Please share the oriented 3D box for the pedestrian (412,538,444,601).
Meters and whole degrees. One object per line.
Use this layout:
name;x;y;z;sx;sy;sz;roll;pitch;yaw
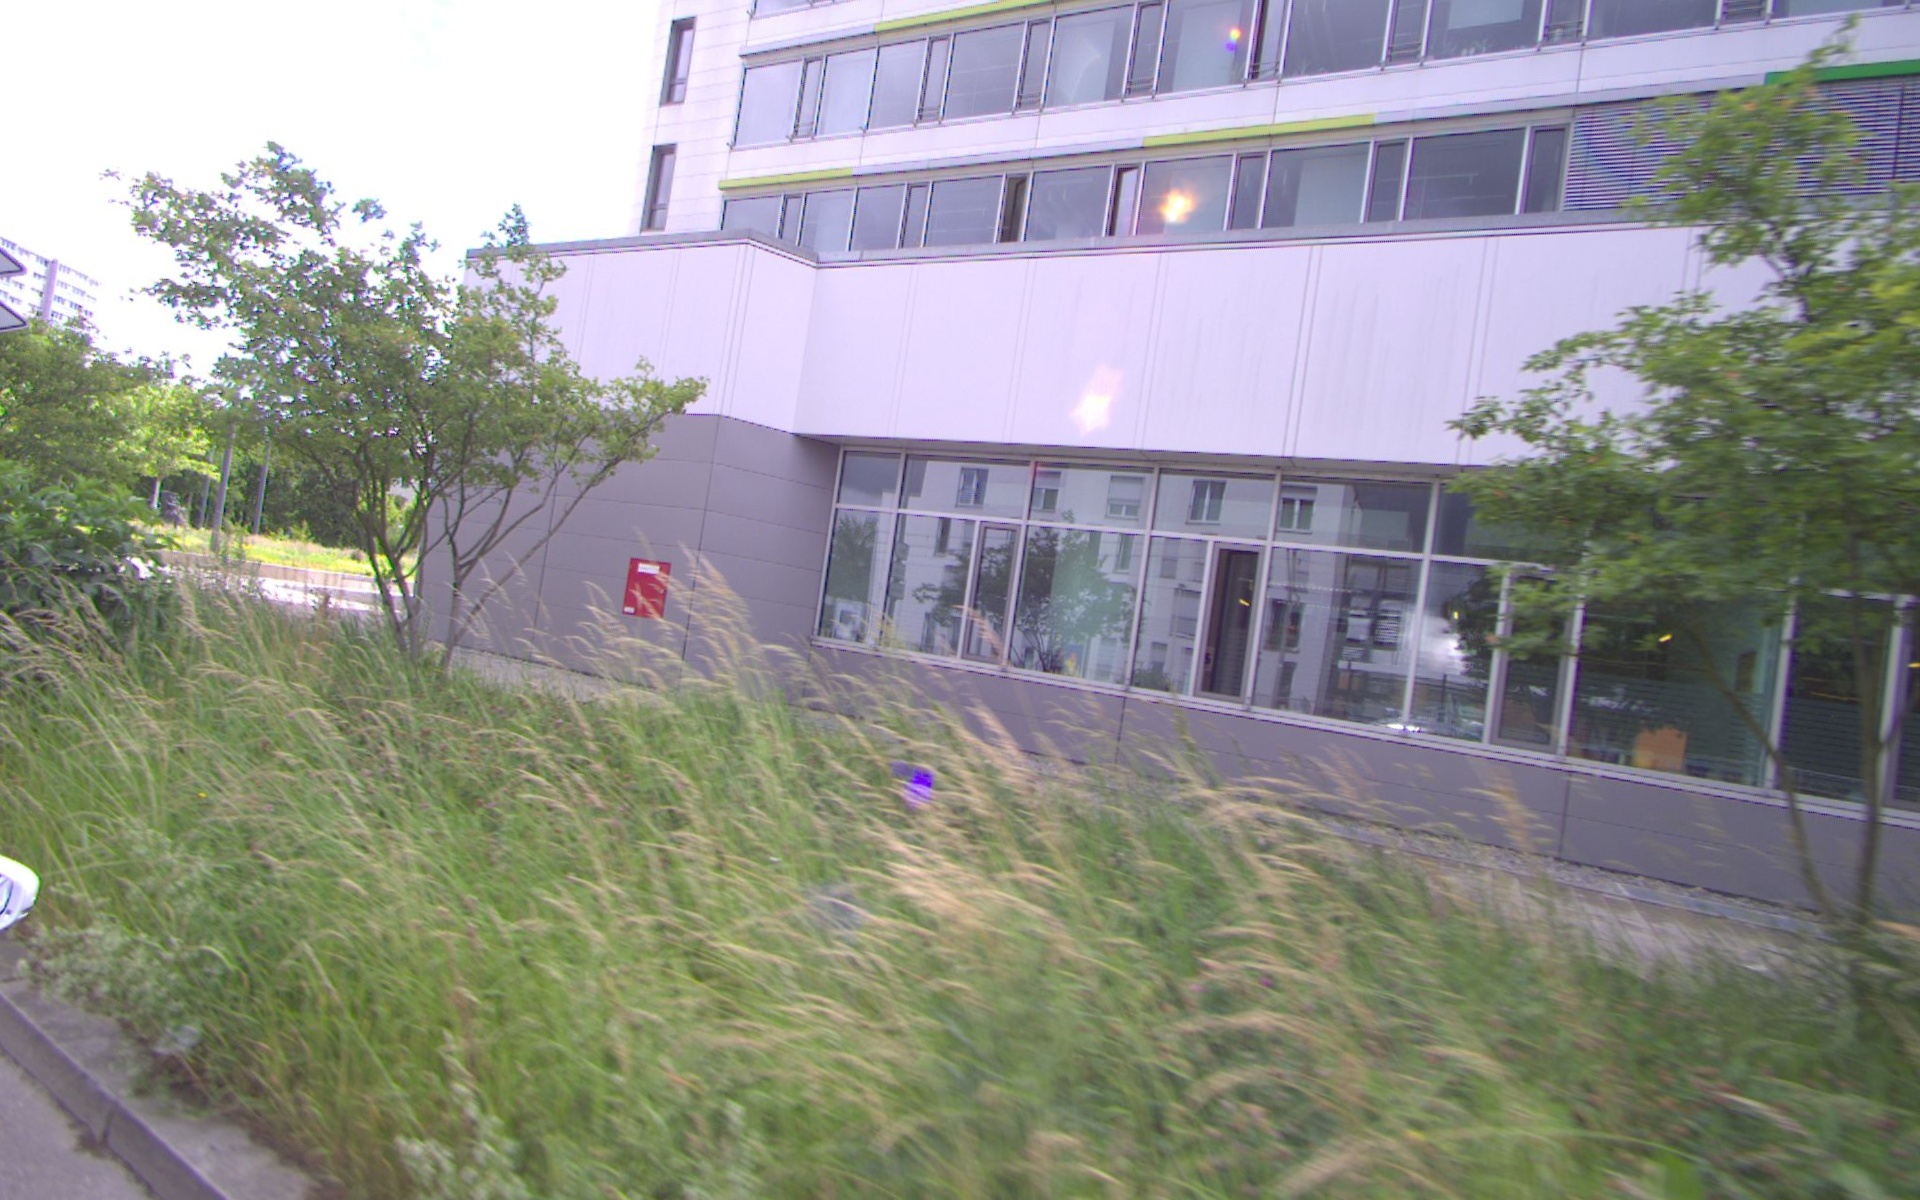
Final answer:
pedestrian;-18.260;-1.029;34.536;0.685;2.034;0.606;6;-5;-21
